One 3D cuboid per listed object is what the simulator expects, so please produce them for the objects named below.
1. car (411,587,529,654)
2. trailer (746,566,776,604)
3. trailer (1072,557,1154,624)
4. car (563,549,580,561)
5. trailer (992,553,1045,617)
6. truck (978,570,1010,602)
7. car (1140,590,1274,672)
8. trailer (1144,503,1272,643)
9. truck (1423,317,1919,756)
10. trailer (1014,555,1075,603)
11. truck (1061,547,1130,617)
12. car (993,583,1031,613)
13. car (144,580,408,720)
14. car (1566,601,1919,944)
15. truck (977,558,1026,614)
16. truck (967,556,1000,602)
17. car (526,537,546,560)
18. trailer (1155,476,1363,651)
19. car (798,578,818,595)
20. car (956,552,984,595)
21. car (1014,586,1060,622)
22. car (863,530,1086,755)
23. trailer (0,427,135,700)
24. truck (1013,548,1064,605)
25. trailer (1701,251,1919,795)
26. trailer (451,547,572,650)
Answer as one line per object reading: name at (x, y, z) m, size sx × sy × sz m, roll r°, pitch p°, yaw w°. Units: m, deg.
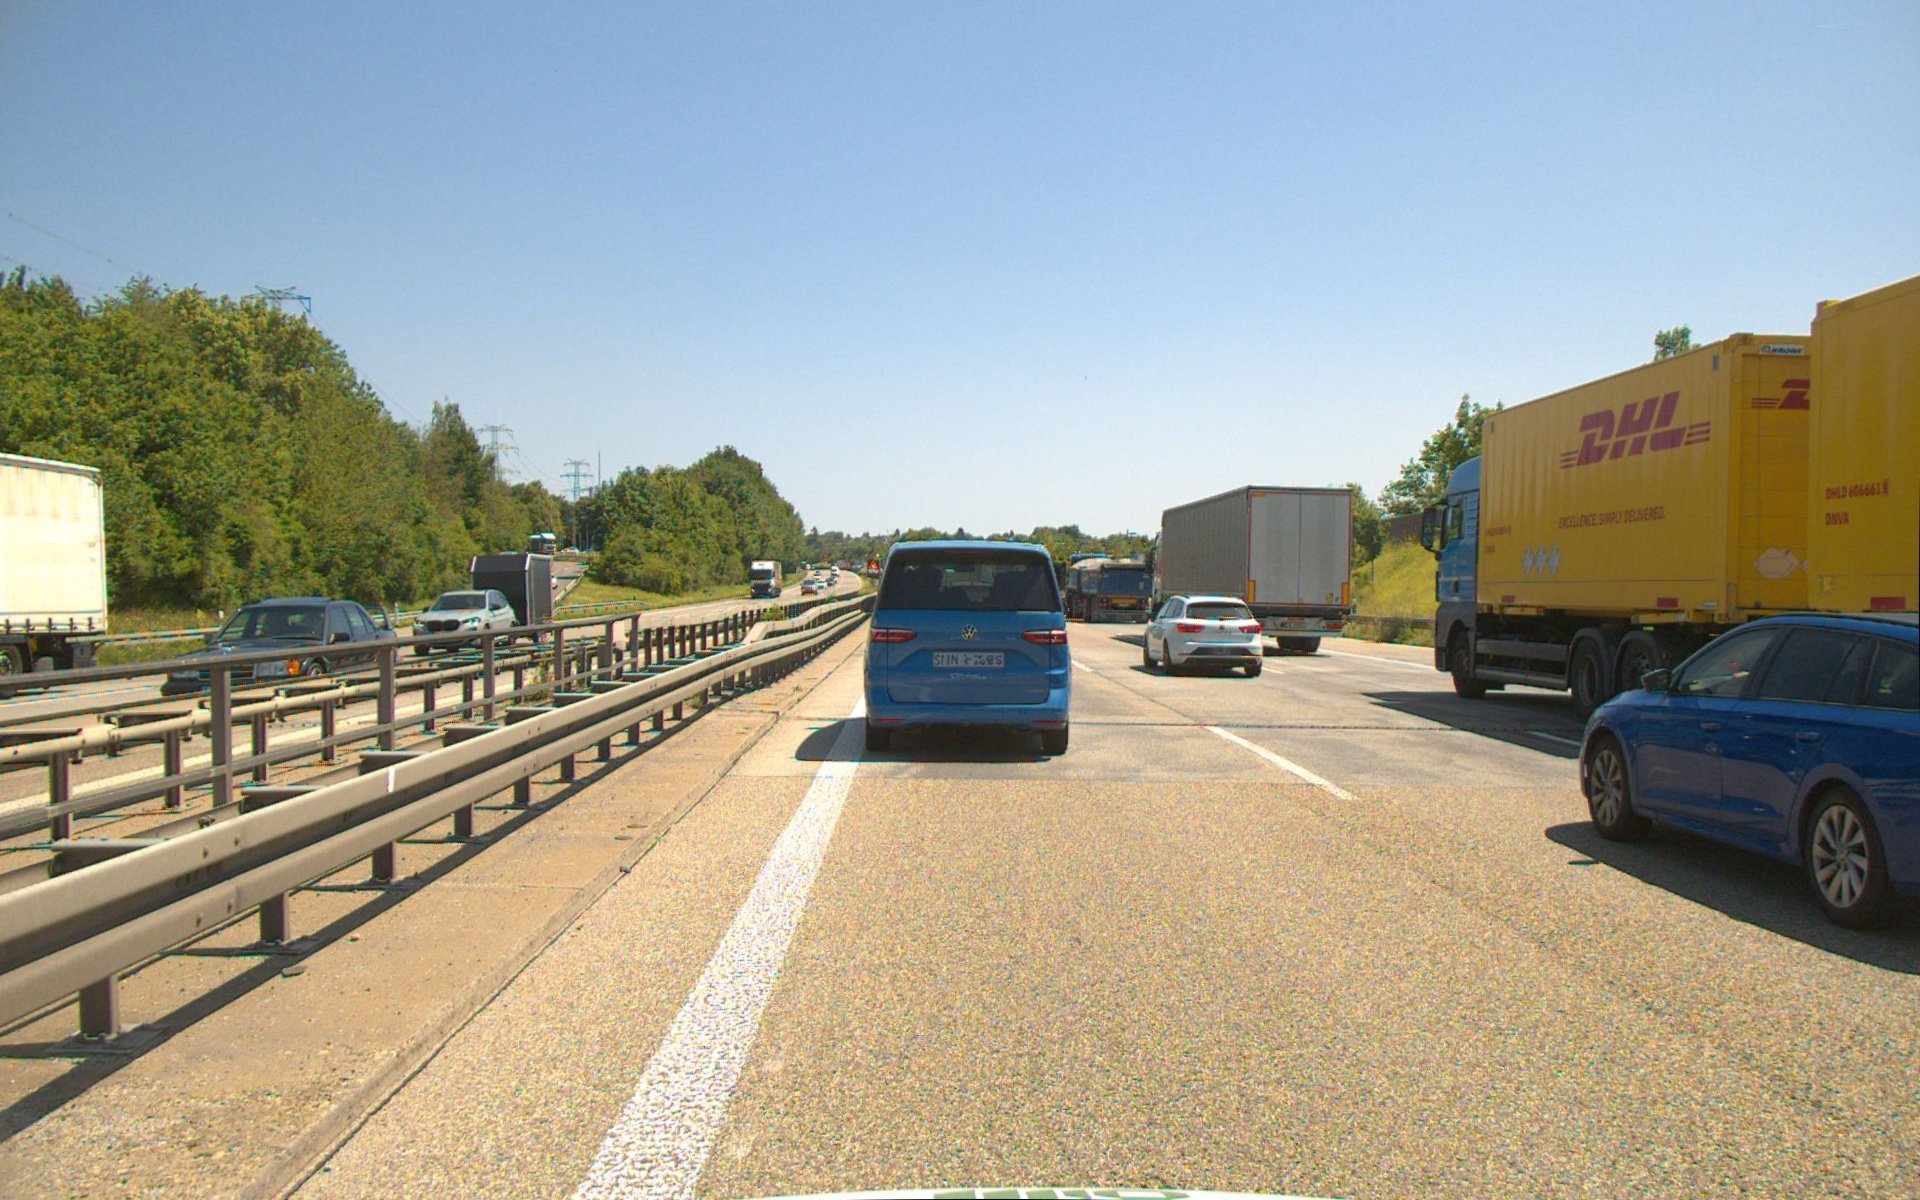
car at (-13.235, 0.544, 44.939) m, size 1.833 × 1.653 × 4.628 m, roll -2°, pitch 0°, yaw -1°
trailer at (-22.033, -1.703, 183.669) m, size 2.701 × 4.045 × 6.130 m, roll -2°, pitch 1°, yaw -2°
trailer at (7.025, -0.522, 77.116) m, size 2.688 × 2.886 × 9.113 m, roll 1°, pitch 1°, yaw -2°
car at (-56.869, -6.618, 242.077) m, size 1.908 × 1.536 × 4.372 m, roll 1°, pitch 0°, yaw -21°
trailer at (4.986, -1.225, 144.601) m, size 3.573 × 5.226 × 13.069 m, roll 1°, pitch 0°, yaw -2°
truck at (2.091, -0.819, 102.166) m, size 1.690 × 1.890 × 3.998 m, roll 1°, pitch 0°, yaw -2°
car at (4.493, 0.523, 30.587) m, size 1.829 × 1.385 × 4.000 m, roll 1°, pitch 0°, yaw -1°
trailer at (7.717, -0.842, 52.260) m, size 2.865 × 4.114 × 6.409 m, roll 1°, pitch 1°, yaw -2°
truck at (8.620, -0.632, 20.891) m, size 2.709 × 4.181 × 9.952 m, roll 1°, pitch 0°, yaw 0°
trailer at (5.900, -1.384, 118.278) m, size 3.572 × 3.132 × 15.771 m, roll 1°, pitch 0°, yaw 0°
truck at (6.823, -0.952, 84.438) m, size 2.688 × 3.369 × 7.131 m, roll 1°, pitch 1°, yaw -2°
car at (2.773, -0.091, 88.409) m, size 1.745 × 1.551 × 3.998 m, roll 1°, pitch 0°, yaw -2°
car at (-8.684, 0.594, 21.380) m, size 1.755 × 1.600 × 3.999 m, roll 1°, pitch 0°, yaw -1°
car at (4.966, 0.768, 8.914) m, size 1.671 × 1.466 × 4.426 m, roll 1°, pitch 0°, yaw -1°
truck at (4.059, -1.311, 166.196) m, size 3.549 × 5.304 × 15.678 m, roll 1°, pitch 0°, yaw -3°
truck at (2.592, -2.282, 186.372) m, size 3.006 × 5.006 × 10.685 m, roll 1°, pitch 0°, yaw -2°
car at (-59.042, -7.123, 230.233) m, size 2.039 × 2.930 × 6.692 m, roll -1°, pitch 0°, yaw -20°
trailer at (7.898, -0.914, 46.038) m, size 2.902 × 4.120 × 13.747 m, roll 1°, pitch 0°, yaw -2°
car at (-18.611, -1.629, 202.395) m, size 1.953 × 1.975 × 4.896 m, roll 1°, pitch 0°, yaw 0°
car at (1.278, -3.437, 217.605) m, size 3.154 × 5.349 × 8.139 m, roll 1°, pitch 0°, yaw -3°
car at (3.349, 0.186, 72.396) m, size 1.803 × 1.480 × 3.999 m, roll 1°, pitch 0°, yaw 0°
car at (0.108, 0.373, 16.072) m, size 1.863 × 1.870 × 3.999 m, roll 1°, pitch 0°, yaw -1°
trailer at (-17.016, -0.534, 23.231) m, size 3.908 × 4.309 × 14.036 m, roll -2°, pitch 0°, yaw -1°
truck at (5.954, -1.760, 126.703) m, size 3.551 × 4.166 × 7.524 m, roll 1°, pitch 0°, yaw 1°
trailer at (8.739, -0.566, 11.700) m, size 2.709 × 4.189 × 9.376 m, roll 1°, pitch 0°, yaw 0°
trailer at (-13.409, -0.024, 49.859) m, size 2.122 × 2.825 × 5.375 m, roll -3°, pitch 0°, yaw -1°
